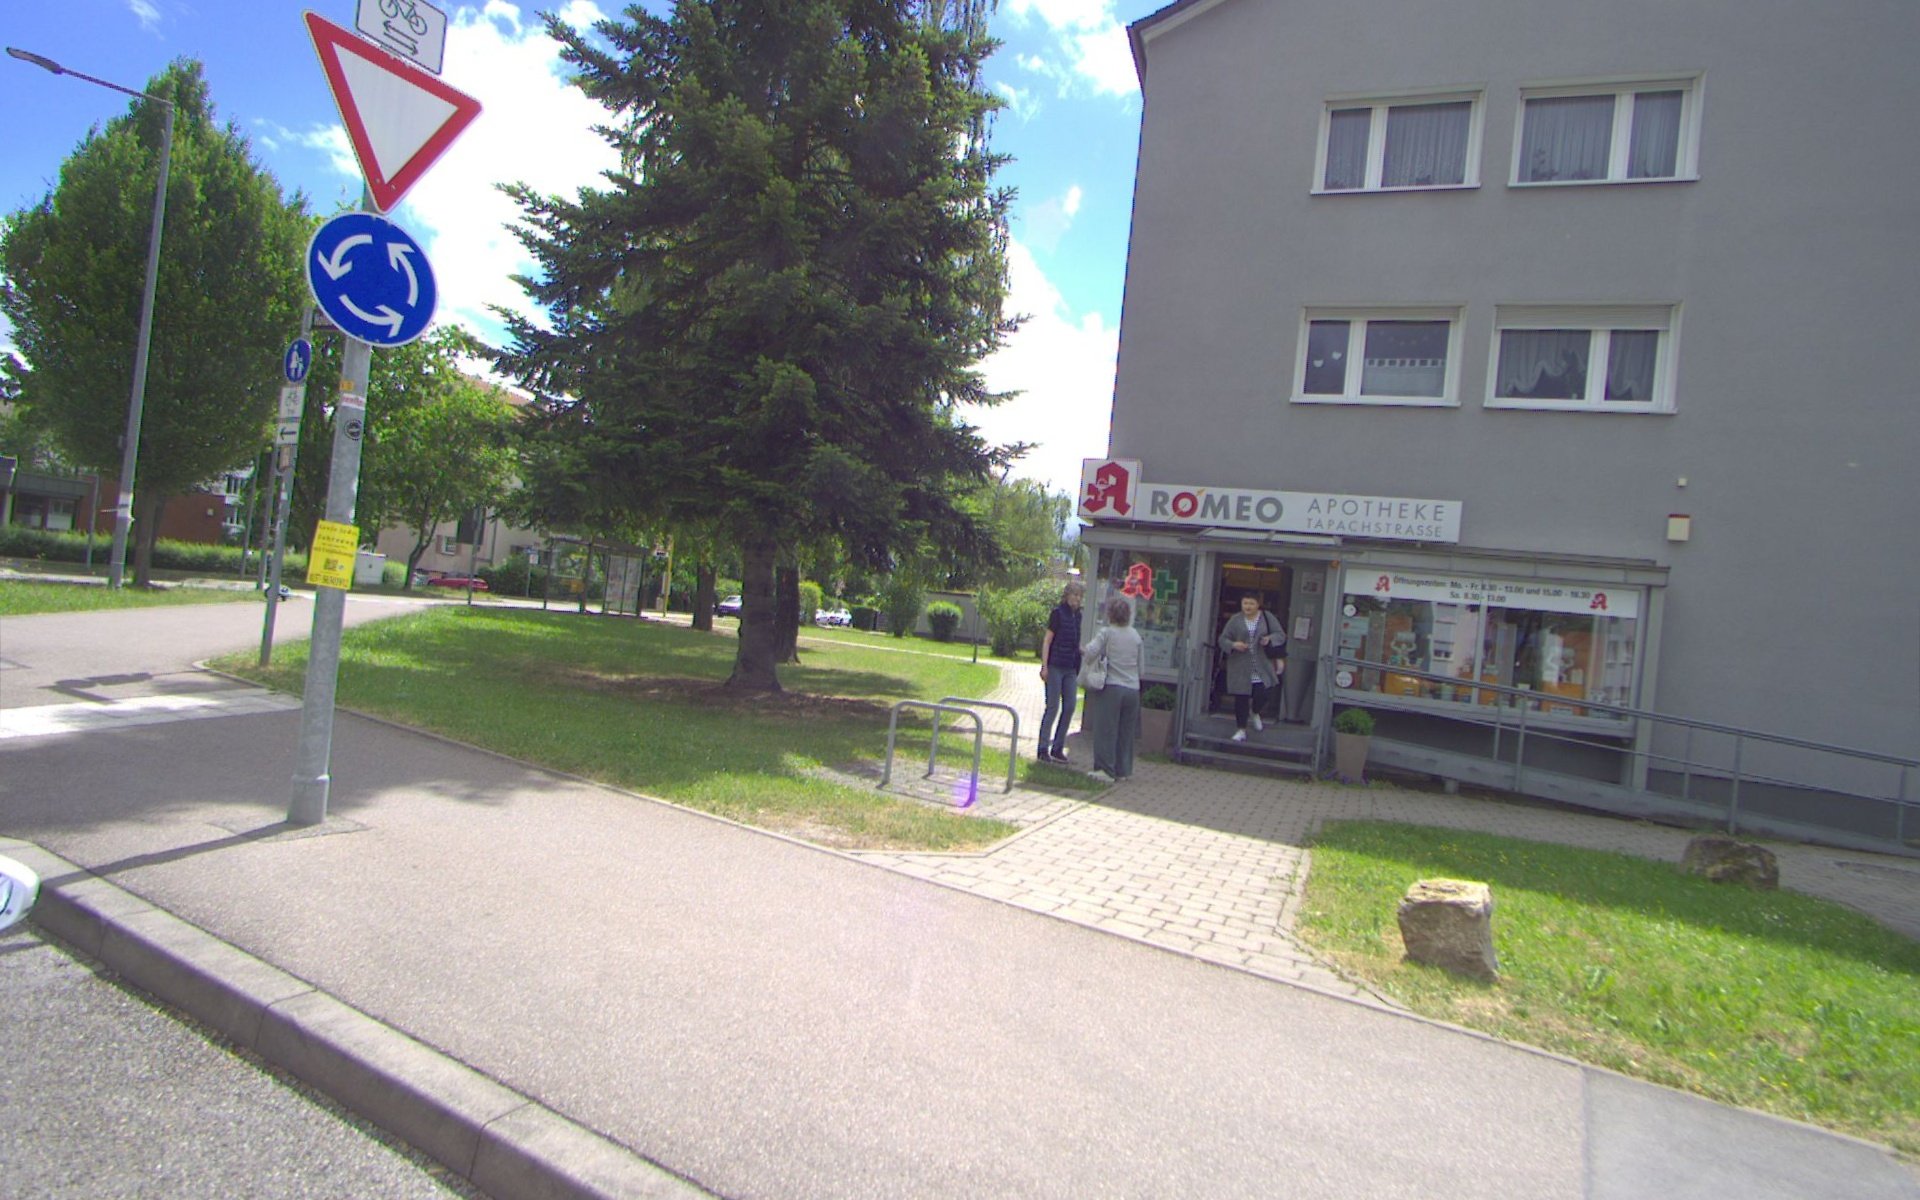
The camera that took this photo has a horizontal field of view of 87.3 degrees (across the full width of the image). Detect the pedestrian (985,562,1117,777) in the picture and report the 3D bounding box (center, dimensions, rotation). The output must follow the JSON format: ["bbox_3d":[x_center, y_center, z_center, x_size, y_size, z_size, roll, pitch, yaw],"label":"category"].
[{"bbox_3d":[0.946,0.693,10.342,1.027,2.038,0.656,6,0,20],"label":"pedestrian"}]

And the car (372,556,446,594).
[{"bbox_3d":[-36.833,-1.655,67.308,3.924,1.963,2.003,6,-2,16],"label":"car"}]

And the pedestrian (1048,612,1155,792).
[{"bbox_3d":[1.345,0.937,9.459,0.679,1.548,0.744,6,0,23],"label":"pedestrian"}]

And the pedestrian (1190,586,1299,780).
[{"bbox_3d":[3.143,0.899,11.216,0.924,1.980,0.843,6,0,12],"label":"pedestrian"}]

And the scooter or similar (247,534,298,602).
[{"bbox_3d":[-14.849,-0.693,21.750,0.479,1.360,1.382,5,1,-20],"label":"scooter or similar"}]

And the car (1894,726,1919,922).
[{"bbox_3d":[6.610,1.546,4.385,1.963,1.260,4.494,6,1,19],"label":"car"}]

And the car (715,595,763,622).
[{"bbox_3d":[-16.797,0.667,76.562,1.962,1.570,4.007,6,-3,12],"label":"car"}]

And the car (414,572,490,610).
[{"bbox_3d":[-33.108,-0.585,65.610,3.924,1.963,2.021,6,-2,16],"label":"car"}]
